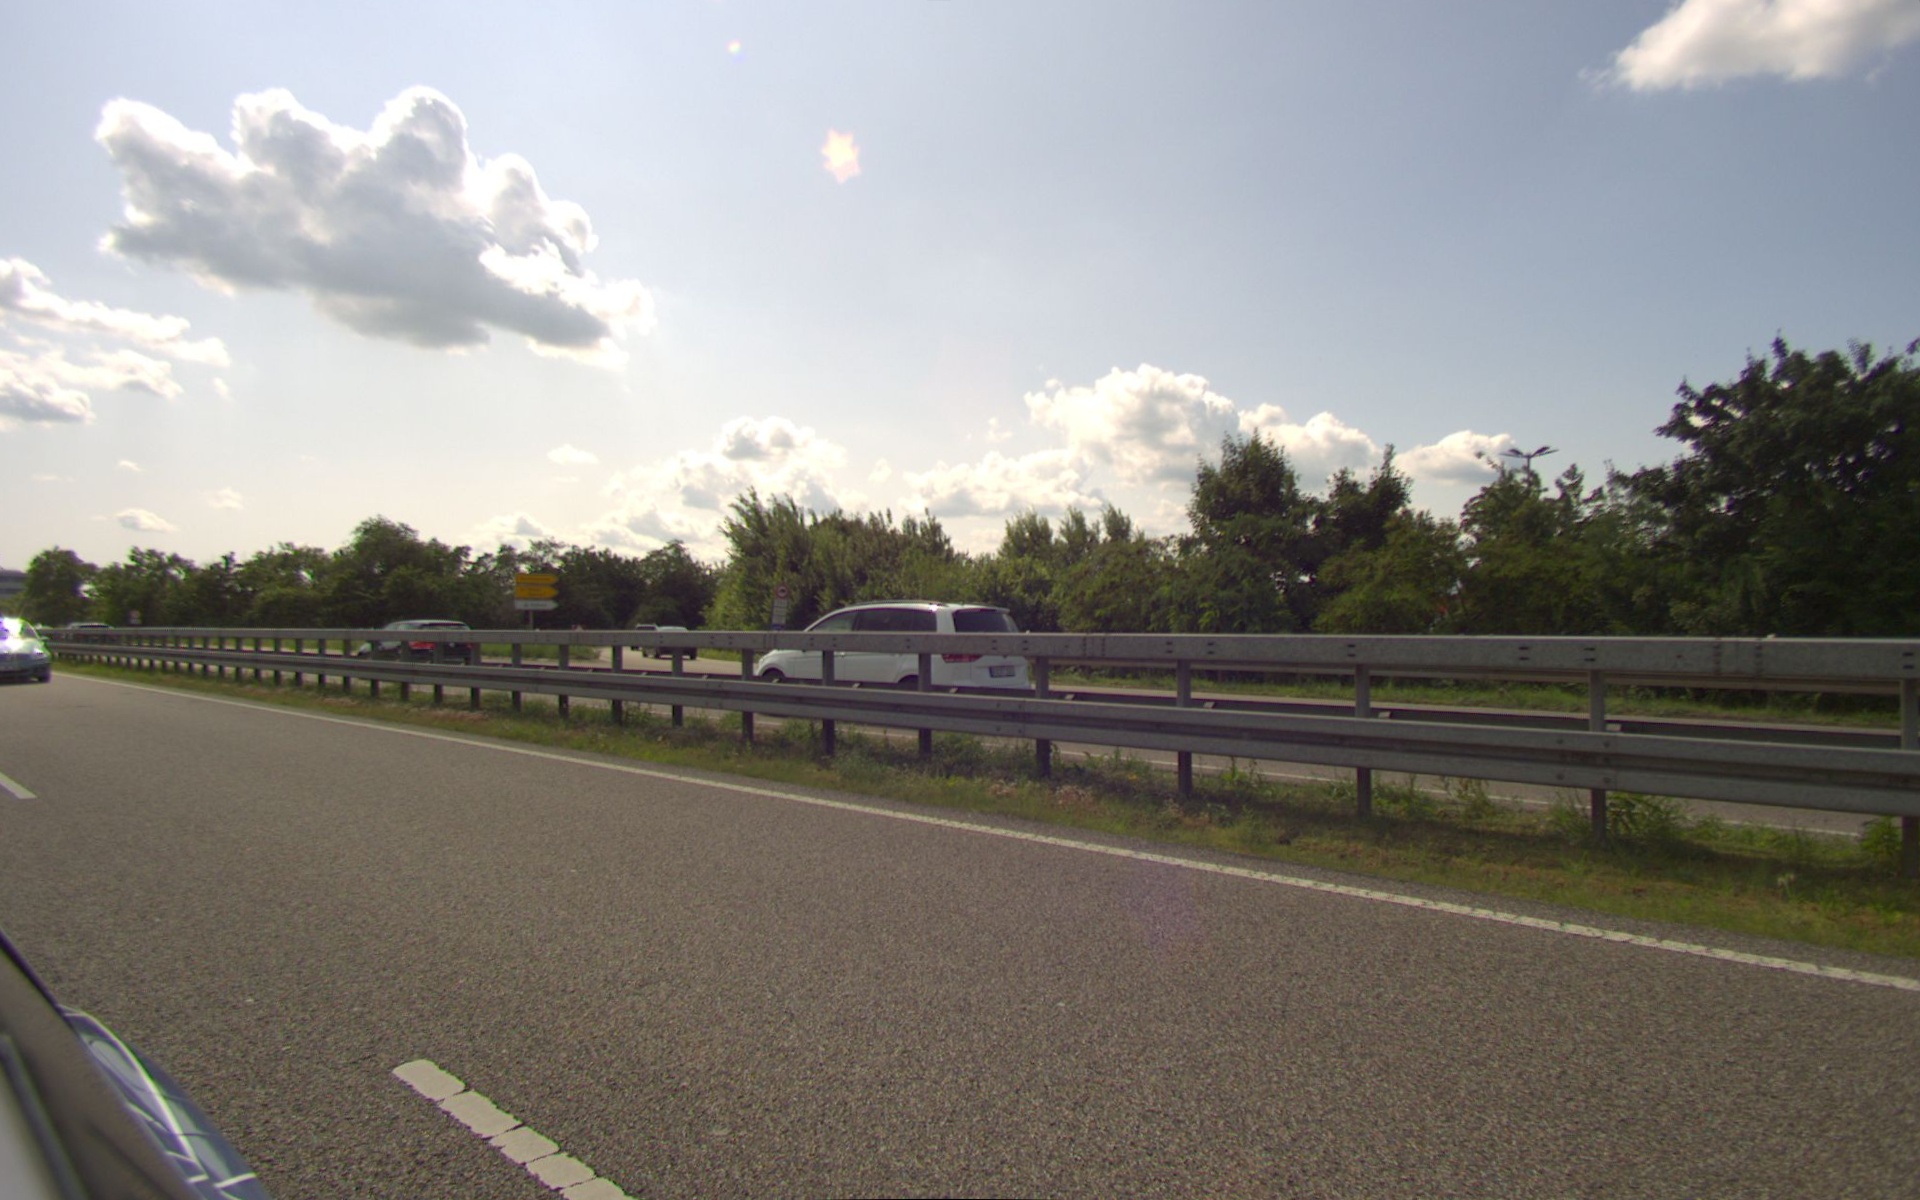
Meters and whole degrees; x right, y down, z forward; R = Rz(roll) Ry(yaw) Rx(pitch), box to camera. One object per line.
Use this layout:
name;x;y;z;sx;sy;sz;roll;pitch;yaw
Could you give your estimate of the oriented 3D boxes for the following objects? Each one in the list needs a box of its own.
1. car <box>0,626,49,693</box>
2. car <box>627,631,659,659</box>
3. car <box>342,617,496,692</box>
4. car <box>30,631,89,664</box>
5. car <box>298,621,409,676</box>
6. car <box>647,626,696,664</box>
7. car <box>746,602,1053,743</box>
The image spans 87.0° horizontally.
car;-23.791;1.424;24.813;3.998;1.543;1.729;-1;-1;41
car;-19.740;2.793;63.079;1.700;1.538;4.011;-1;0;-15
car;-13.586;1.289;25.295;4.548;1.658;1.940;-1;0;42
car;-50.596;2.612;56.854;4.548;1.658;1.940;-1;0;42
car;-20.502;1.574;34.133;4.548;1.658;1.940;-1;0;42
car;-13.078;1.984;45.711;1.700;1.538;4.013;-1;0;-22
car;-0.952;0.886;14.067;4.265;1.658;1.671;-1;0;40
